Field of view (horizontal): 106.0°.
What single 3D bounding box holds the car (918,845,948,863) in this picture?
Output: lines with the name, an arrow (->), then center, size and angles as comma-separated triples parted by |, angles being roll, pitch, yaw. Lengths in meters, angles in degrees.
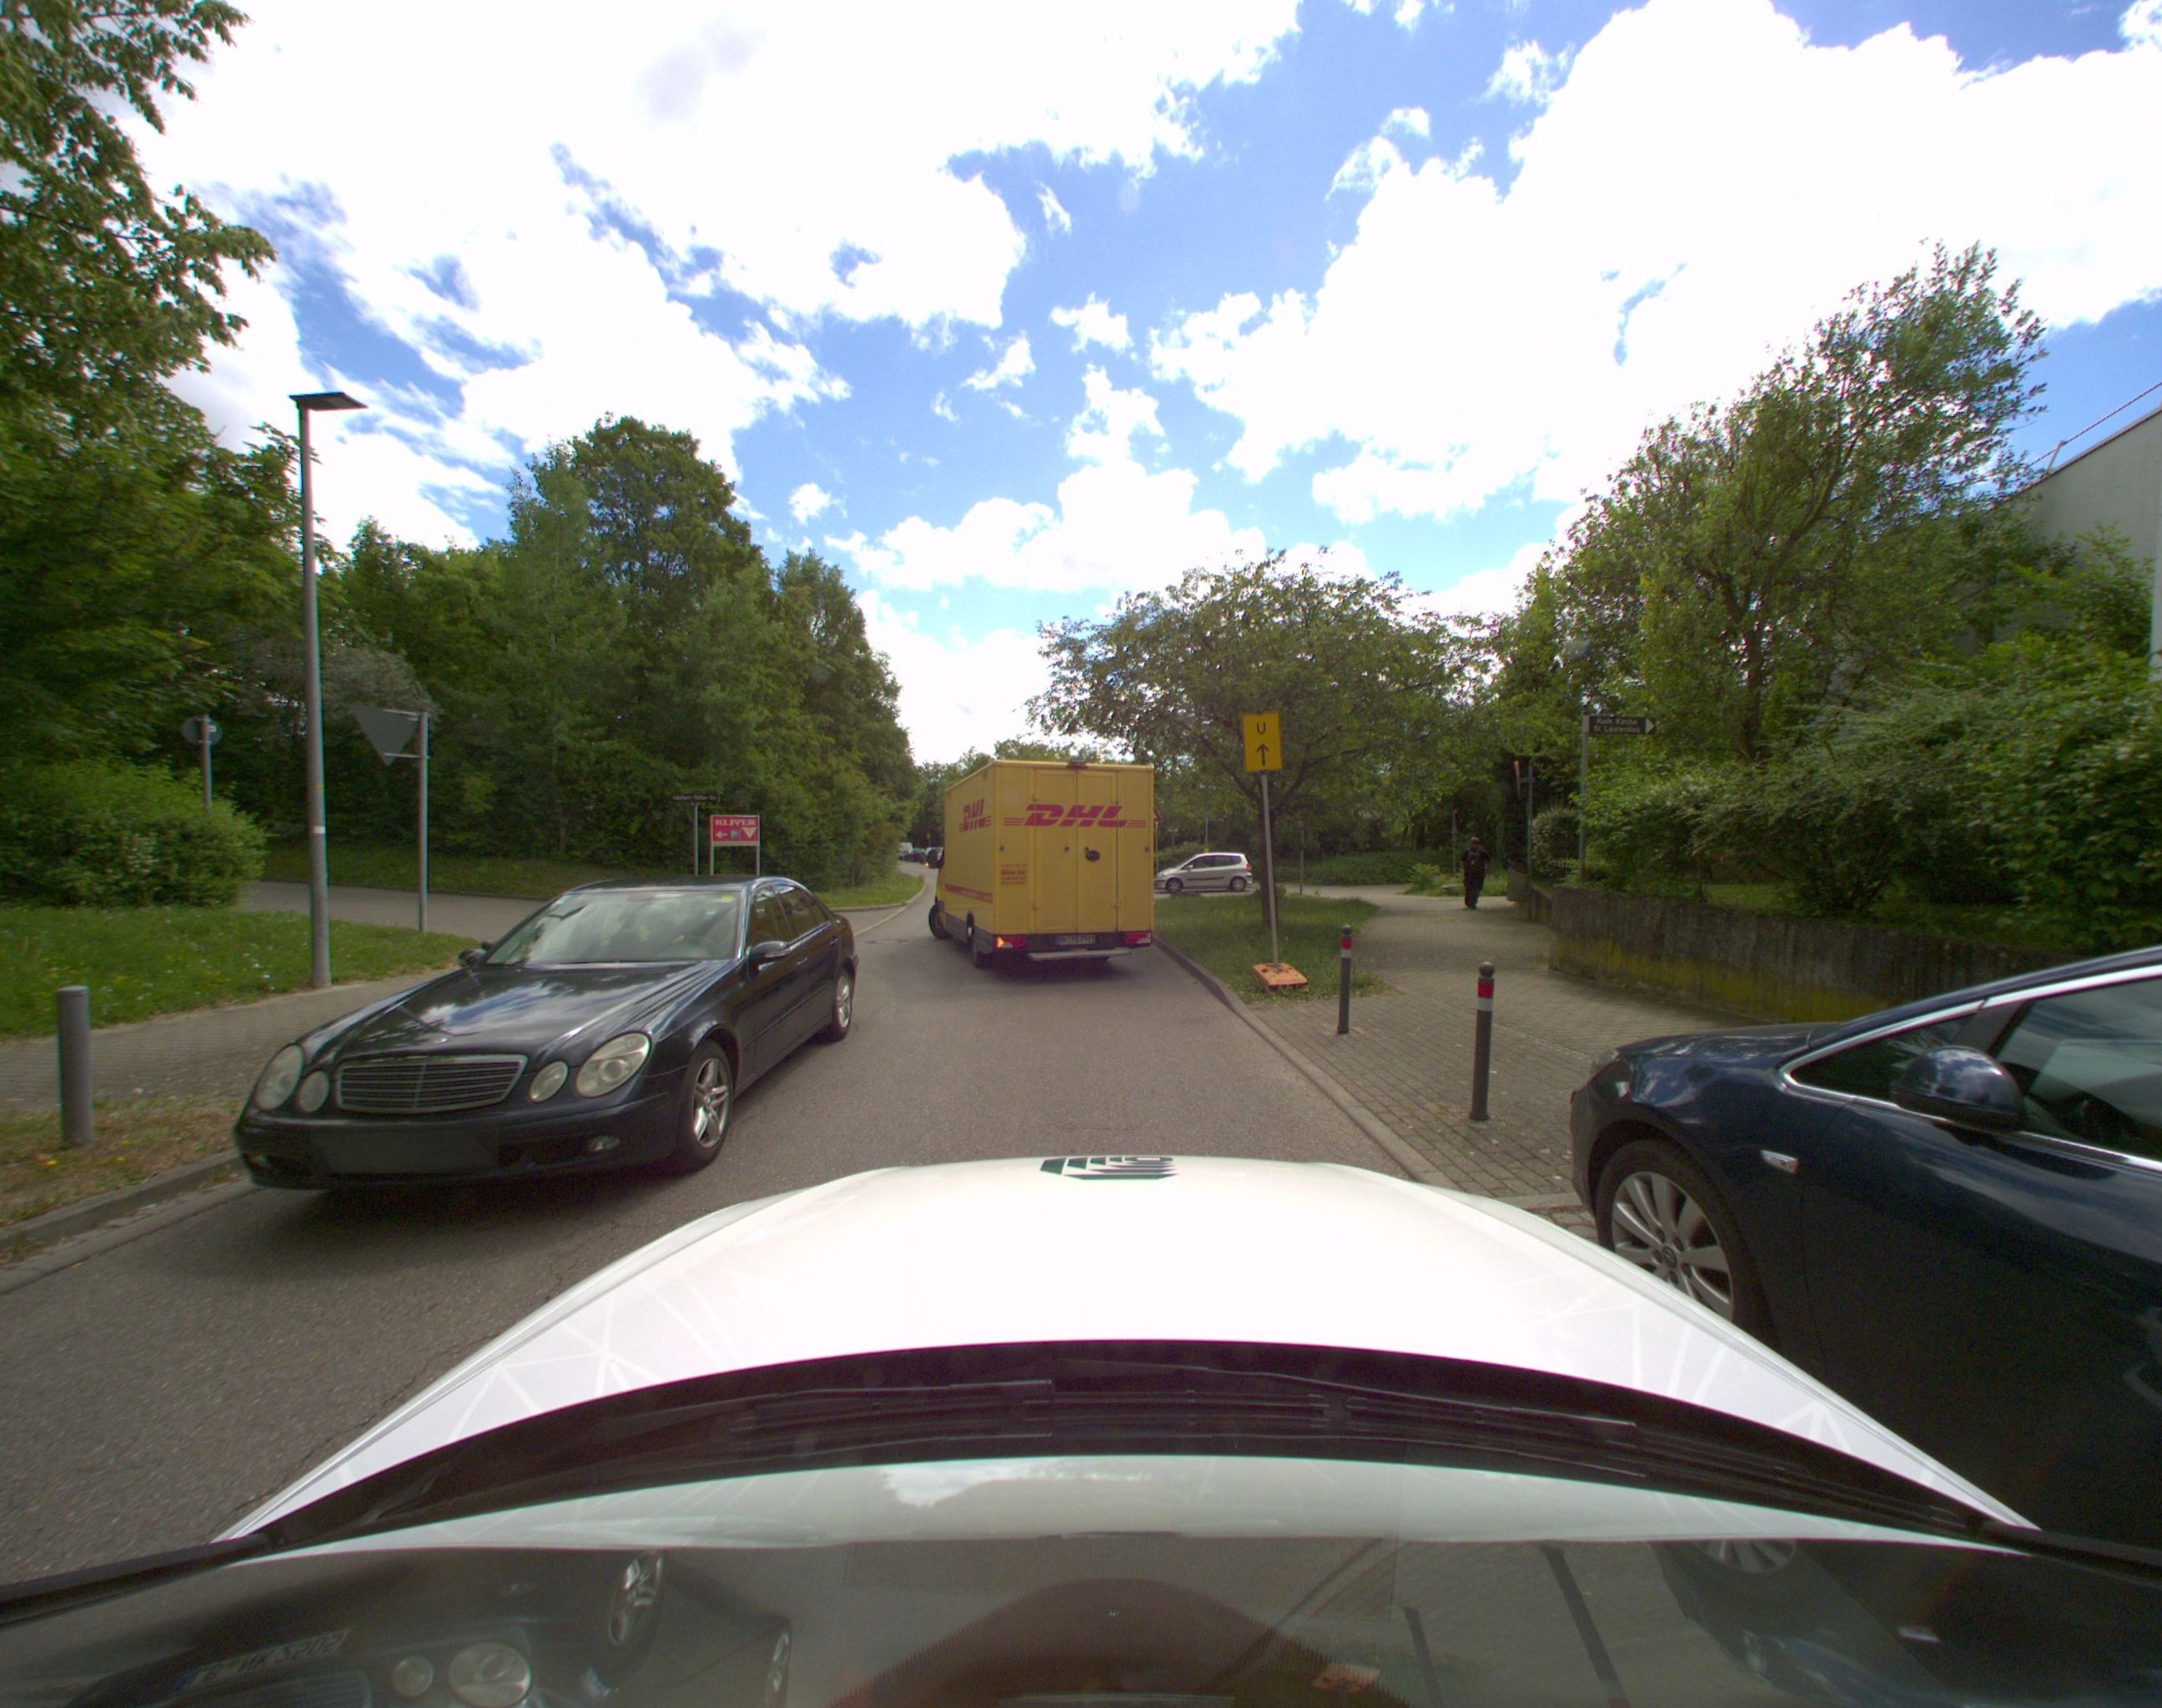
car -> -15.484, 0.007, 84.821 | 2.004, 1.626, 4.243 | -4, 3, -25

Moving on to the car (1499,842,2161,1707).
car -> 2.502, 0.688, 1.217 | 1.685, 1.420, 3.999 | -1, 0, 0

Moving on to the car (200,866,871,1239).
car -> -2.793, 0.839, 5.540 | 1.748, 1.419, 4.363 | -1, 0, -3

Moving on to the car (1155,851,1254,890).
car -> 4.749, 0.630, 31.755 | 3.627, 1.456, 1.847 | -1, -1, 1

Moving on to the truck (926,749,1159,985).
truck -> -1.021, 0.151, 13.134 | 2.231, 2.808, 6.534 | -1, 0, -17

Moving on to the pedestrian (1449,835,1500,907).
pedestrian -> 9.646, 0.410, 19.986 | 0.830, 1.737, 0.784 | -1, -1, -4

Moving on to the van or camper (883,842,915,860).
van or camper -> -21.522, -0.365, 96.066 | 2.008, 1.919, 5.212 | -3, 3, -33

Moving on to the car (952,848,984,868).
car -> -10.179, 0.330, 72.989 | 1.719, 1.591, 3.970 | -9, 4, -23

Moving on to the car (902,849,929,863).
car -> -18.493, 0.215, 90.796 | 1.809, 1.464, 3.962 | -2, 1, -29

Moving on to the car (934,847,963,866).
car -> -12.969, 0.215, 79.507 | 1.879, 1.689, 4.545 | 0, 1, -23
